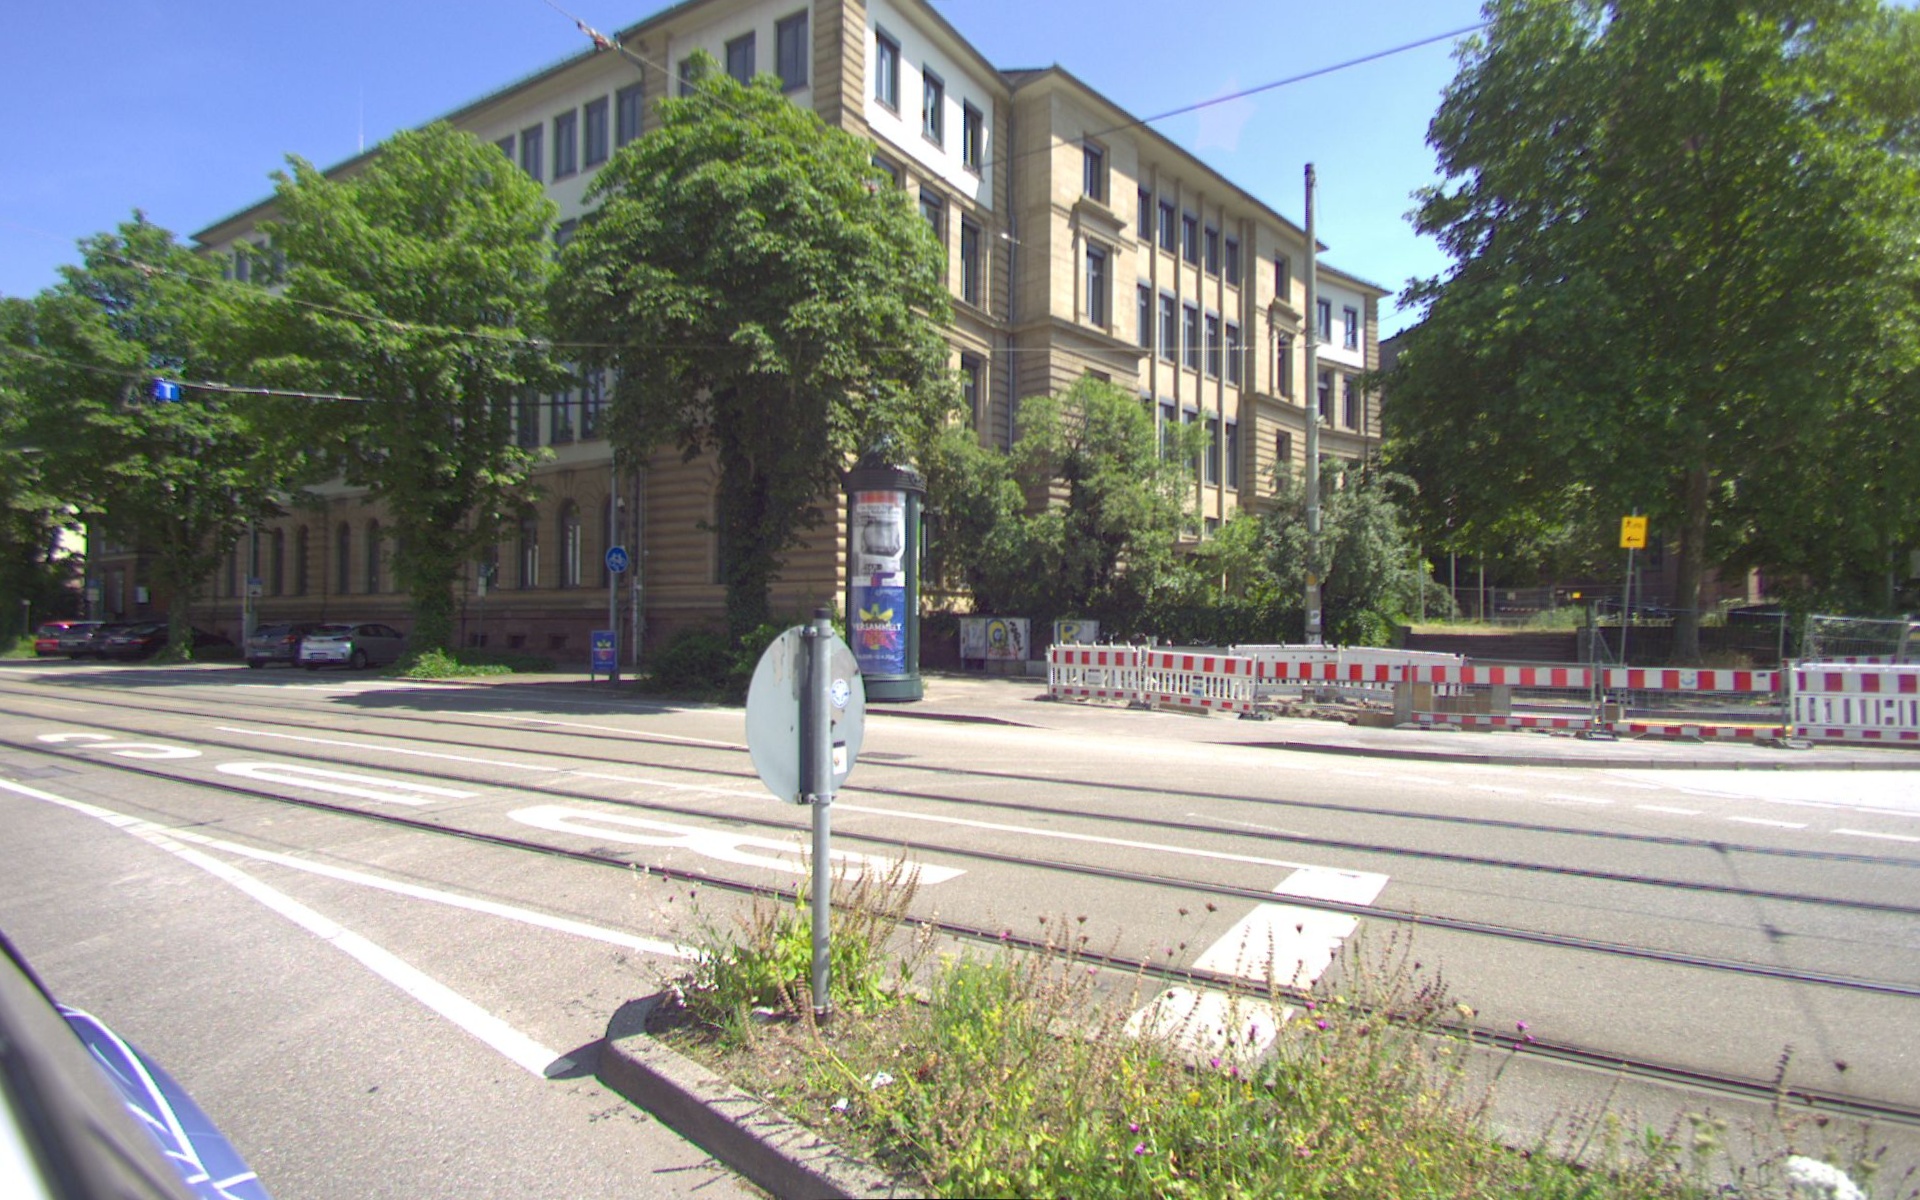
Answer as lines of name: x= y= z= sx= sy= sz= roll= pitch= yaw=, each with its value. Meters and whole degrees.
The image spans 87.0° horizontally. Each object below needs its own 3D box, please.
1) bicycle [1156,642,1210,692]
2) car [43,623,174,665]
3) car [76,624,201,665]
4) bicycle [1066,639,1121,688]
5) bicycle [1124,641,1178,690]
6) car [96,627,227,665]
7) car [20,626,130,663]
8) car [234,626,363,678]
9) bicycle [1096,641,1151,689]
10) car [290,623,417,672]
bicycle: x=5.205 y=1.534 z=23.543 sx=0.504 sy=1.111 sz=1.715 roll=-2 pitch=-2 yaw=39
car: x=-35.138 y=1.776 z=41.924 sx=1.647 sy=1.596 sz=4.318 roll=0 pitch=0 yaw=3
car: x=-32.779 y=1.757 z=40.539 sx=1.770 sy=1.589 sz=3.814 roll=0 pitch=-2 yaw=3
bicycle: x=3.313 y=1.552 z=25.044 sx=0.463 sy=1.156 sz=1.664 roll=0 pitch=-1 yaw=42
bicycle: x=4.561 y=1.531 z=24.075 sx=0.504 sy=1.111 sz=1.715 roll=-2 pitch=-2 yaw=39
car: x=-30.348 y=1.748 z=38.612 sx=1.649 sy=1.385 sz=3.925 roll=0 pitch=-2 yaw=7
car: x=-38.077 y=1.885 z=43.624 sx=1.649 sy=1.527 sz=3.346 roll=0 pitch=-1 yaw=6
car: x=-21.356 y=1.640 z=32.851 sx=1.648 sy=1.531 sz=3.672 roll=0 pitch=0 yaw=4
bicycle: x=3.979 y=1.550 z=24.553 sx=0.504 sy=1.111 sz=1.715 roll=-2 pitch=-2 yaw=39
car: x=-18.839 y=1.446 z=31.634 sx=1.680 sy=1.416 sz=3.545 roll=0 pitch=-1 yaw=4
